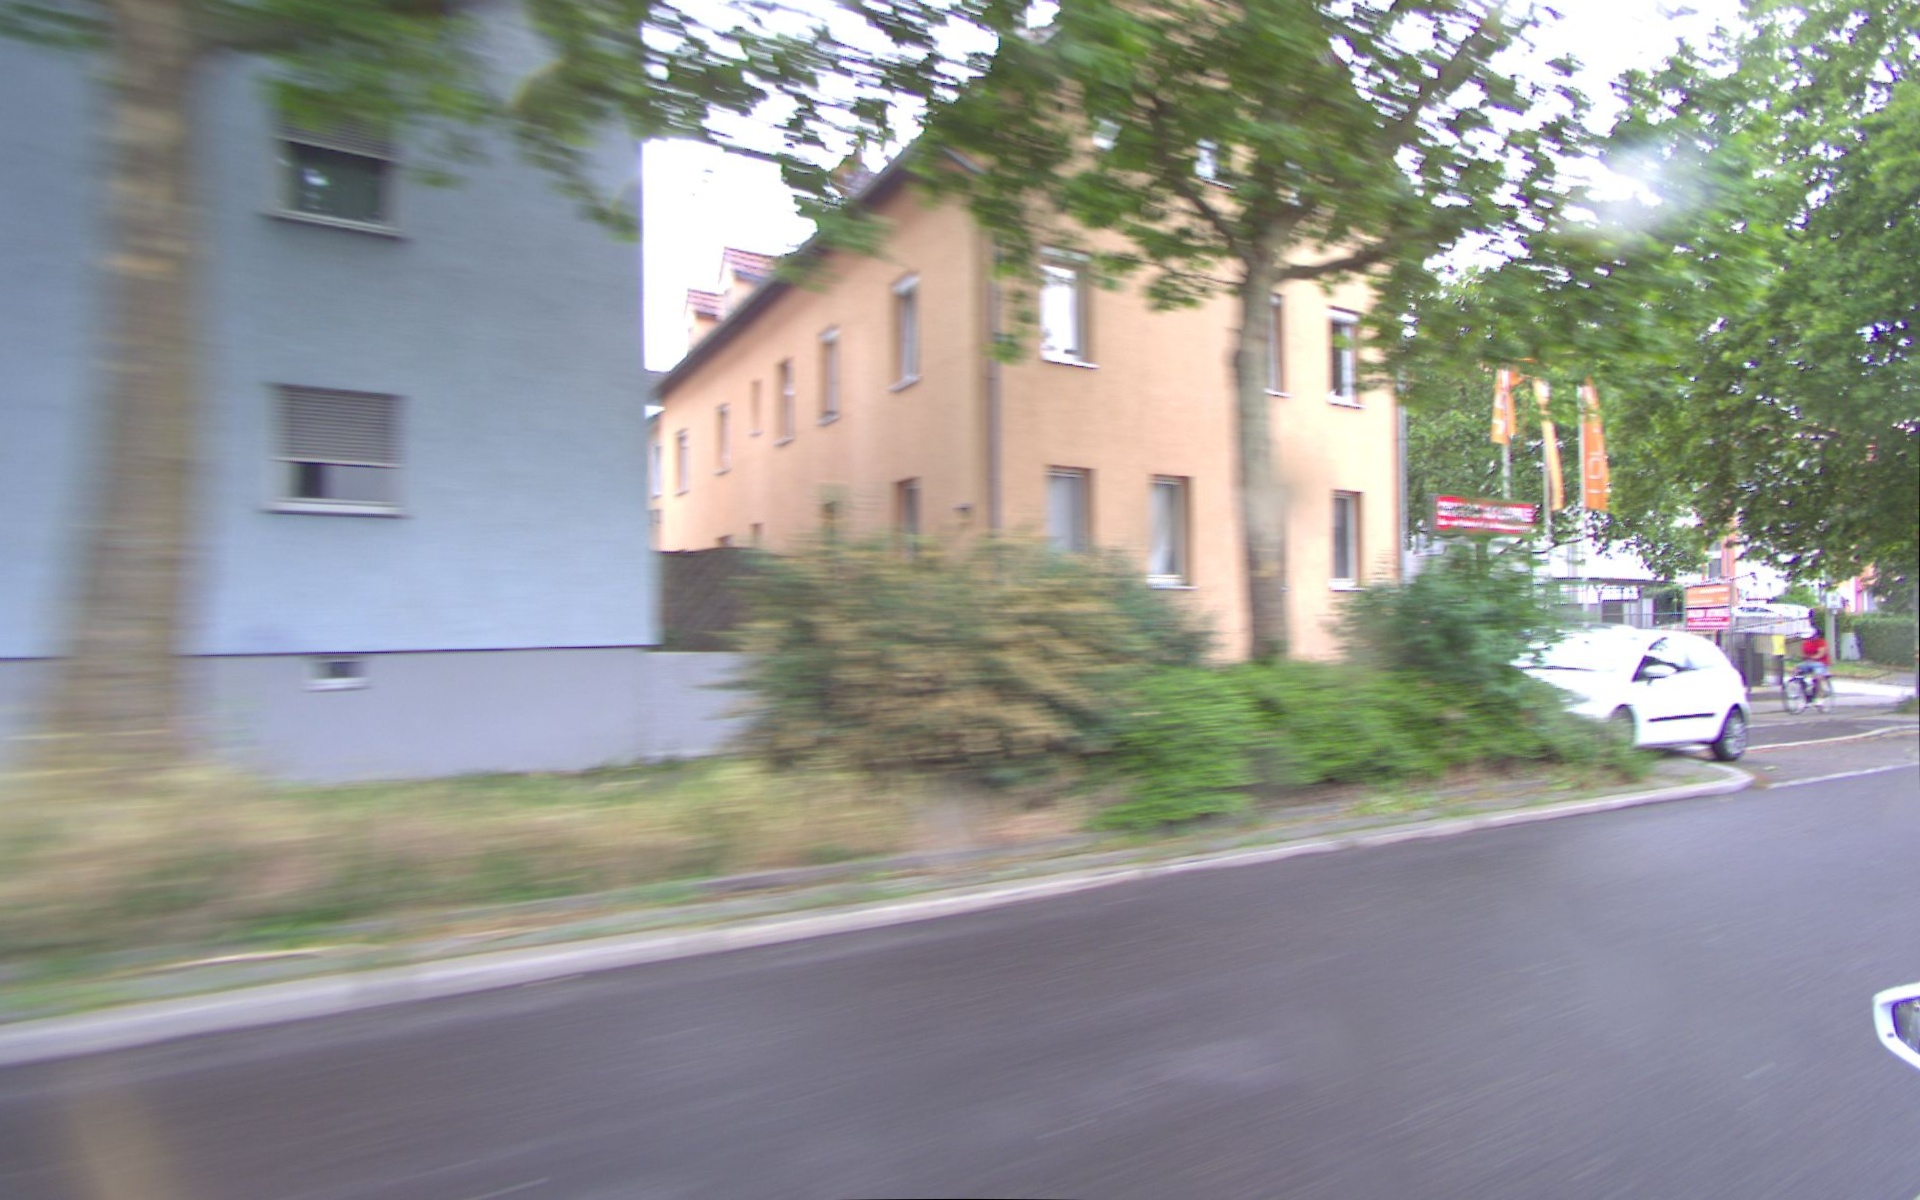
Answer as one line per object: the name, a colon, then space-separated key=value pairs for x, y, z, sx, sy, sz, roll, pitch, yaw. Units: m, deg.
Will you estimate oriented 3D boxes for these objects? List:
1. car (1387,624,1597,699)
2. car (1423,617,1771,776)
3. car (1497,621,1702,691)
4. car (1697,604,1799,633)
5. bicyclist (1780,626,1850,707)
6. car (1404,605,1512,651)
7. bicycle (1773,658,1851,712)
car: x=12.615 y=1.406 z=24.072 sx=1.933 sy=1.518 sz=4.082 roll=1 pitch=0 yaw=-27
car: x=7.611 y=1.010 z=11.902 sx=4.302 sy=1.571 sz=1.777 roll=1 pitch=-1 yaw=-31
car: x=16.967 y=1.439 z=26.861 sx=1.960 sy=1.559 sz=4.185 roll=3 pitch=0 yaw=-31
car: x=42.887 y=0.986 z=54.772 sx=1.825 sy=1.433 sz=3.972 roll=3 pitch=-1 yaw=-27
bicyclist: x=17.247 y=1.331 z=20.272 sx=0.807 sy=1.573 sz=0.828 roll=2 pitch=-1 yaw=-31
car: x=22.270 y=1.229 z=45.046 sx=1.858 sy=1.802 sz=3.968 roll=3 pitch=0 yaw=-30
bicycle: x=17.199 y=1.707 z=20.260 sx=2.241 sy=1.009 sz=0.551 roll=3 pitch=-1 yaw=-32
